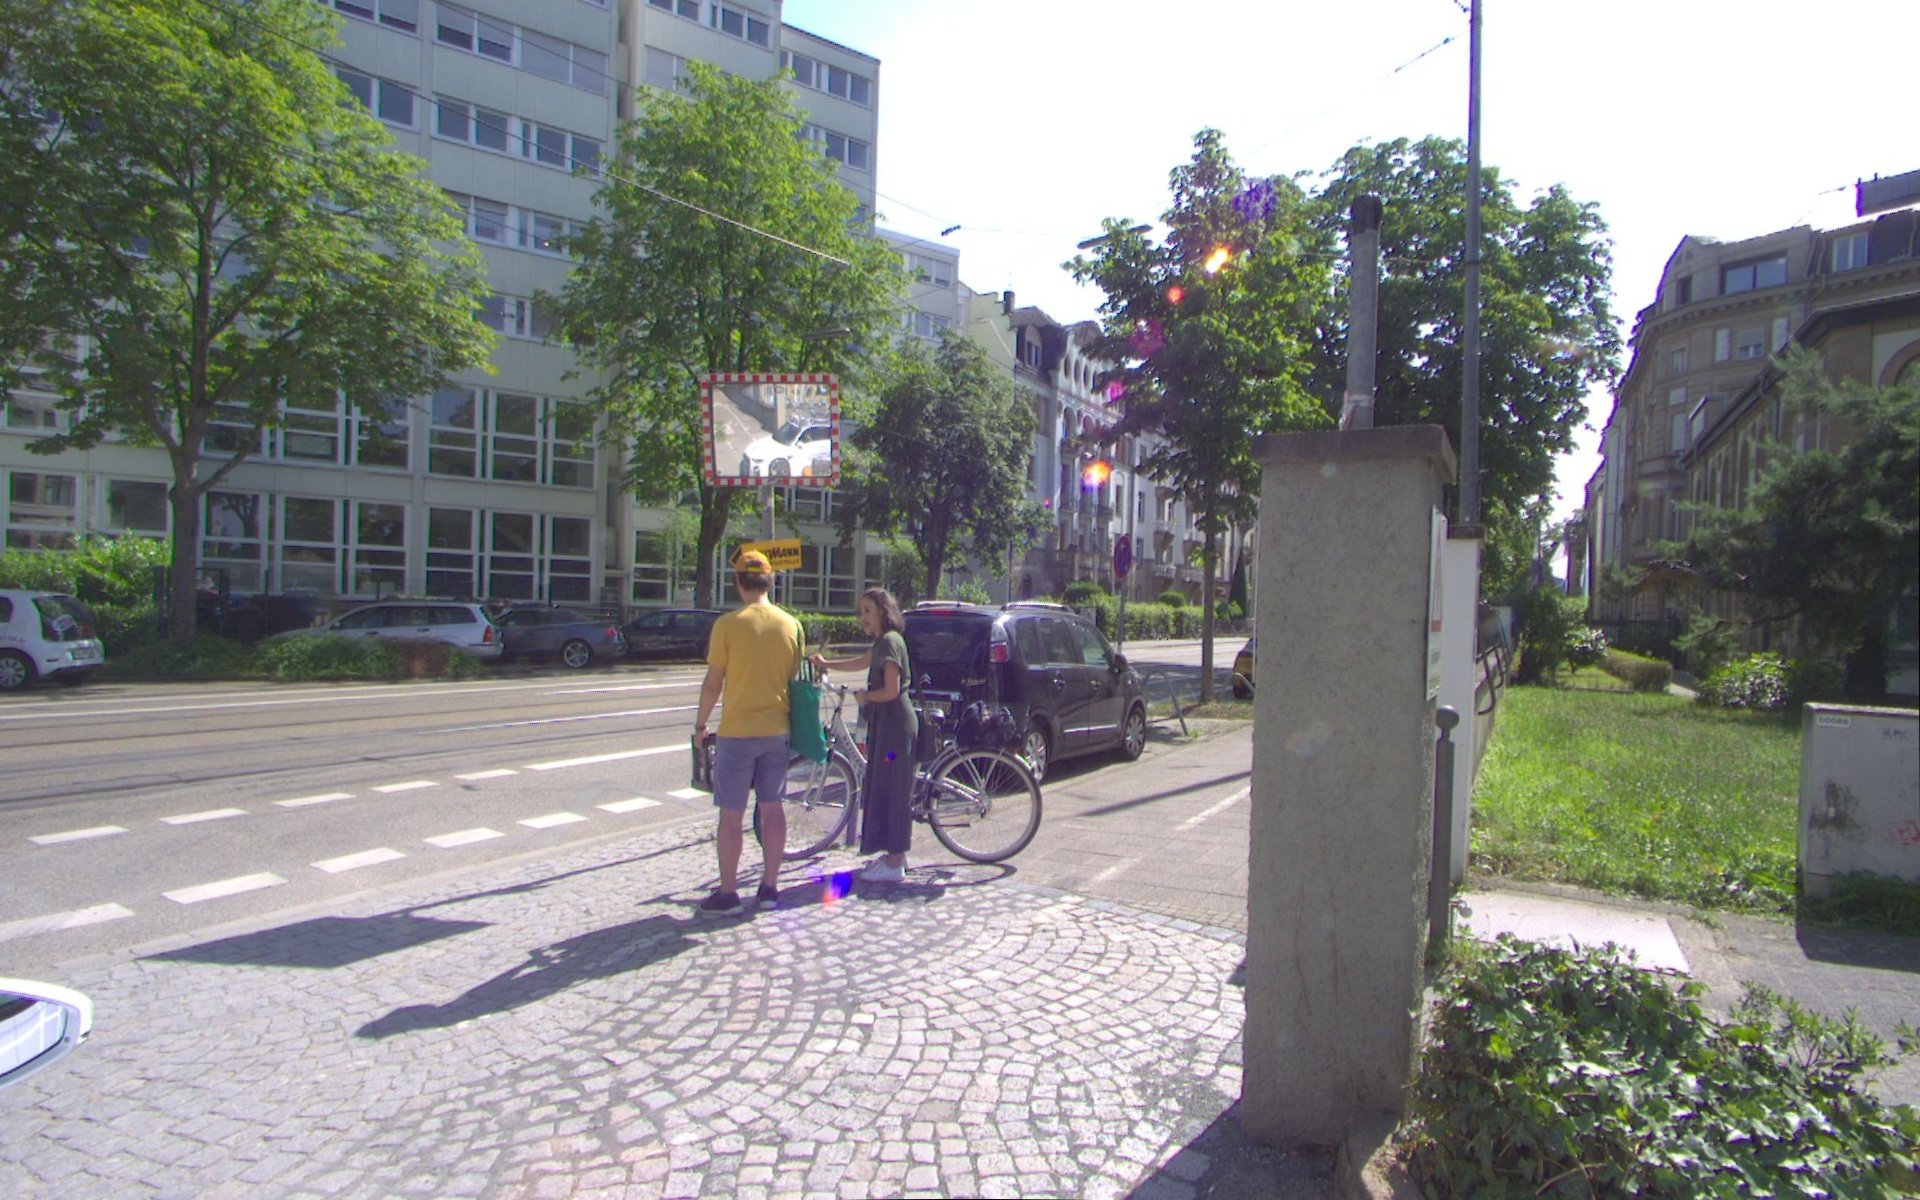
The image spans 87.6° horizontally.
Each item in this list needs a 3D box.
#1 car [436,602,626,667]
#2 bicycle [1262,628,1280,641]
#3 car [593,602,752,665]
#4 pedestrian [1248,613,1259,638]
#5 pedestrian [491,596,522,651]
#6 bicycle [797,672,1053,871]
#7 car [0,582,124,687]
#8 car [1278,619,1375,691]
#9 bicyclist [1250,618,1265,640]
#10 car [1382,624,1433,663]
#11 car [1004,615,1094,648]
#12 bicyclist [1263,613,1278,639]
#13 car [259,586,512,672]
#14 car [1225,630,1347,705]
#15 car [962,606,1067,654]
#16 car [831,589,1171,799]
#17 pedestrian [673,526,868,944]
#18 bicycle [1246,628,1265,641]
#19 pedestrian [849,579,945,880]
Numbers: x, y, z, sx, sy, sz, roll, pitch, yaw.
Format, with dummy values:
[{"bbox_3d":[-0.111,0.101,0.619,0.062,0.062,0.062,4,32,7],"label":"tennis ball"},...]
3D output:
[{"bbox_3d":[-9.924,0.810,23.453,3.875,1.375,1.556,2,0,-16],"label":"car"},{"bbox_3d":[22.439,2.474,72.271,0.670,0.929,2.309,2,0,32],"label":"bicycle"},{"bbox_3d":[-7.543,0.875,26.445,3.875,1.505,1.556,2,0,-16],"label":"car"},{"bbox_3d":[23.668,2.060,80.818,0.680,1.958,0.785,2,0,28],"label":"pedestrian"},{"bbox_3d":[-12.446,0.640,27.502,0.417,1.480,0.620,2,0,27],"label":"pedestrian"},{"bbox_3d":[-0.209,1.005,6.065,1.484,1.055,0.363,2,0,12],"label":"bicycle"},{"bbox_3d":[-15.144,0.477,14.848,3.874,1.505,1.610,1,0,-15],"label":"car"},{"bbox_3d":[9.728,1.397,26.403,1.828,1.702,3.984,1,-1,28],"label":"car"},{"bbox_3d":[21.571,2.120,72.708,0.793,1.563,0.860,2,0,33],"label":"bicyclist"},{"bbox_3d":[20.862,2.002,46.615,1.828,1.702,3.984,1,-1,28],"label":"car"},{"bbox_3d":[4.346,1.543,49.195,3.929,1.528,1.997,2,-1,-16],"label":"car"},{"bbox_3d":[22.382,1.854,72.154,0.793,1.825,0.860,2,0,33],"label":"bicyclist"},{"bbox_3d":[-11.718,0.619,20.741,4.270,1.625,1.555,2,-1,-18],"label":"car"},{"bbox_3d":[7.248,1.394,22.019,1.828,1.430,3.984,1,-1,28],"label":"car"},{"bbox_3d":[2.304,1.265,42.535,3.935,1.884,1.993,2,0,-23],"label":"car"},{"bbox_3d":[0.634,0.820,10.427,1.829,1.706,3.981,1,-1,31],"label":"car"},{"bbox_3d":[-0.978,0.622,5.029,0.839,1.889,0.828,2,1,-16],"label":"pedestrian"},{"bbox_3d":[21.479,2.512,72.728,0.670,0.929,2.309,2,0,32],"label":"bicycle"},{"bbox_3d":[-0.354,0.718,5.739,0.445,1.642,0.422,-1,-1,12],"label":"pedestrian"}]
